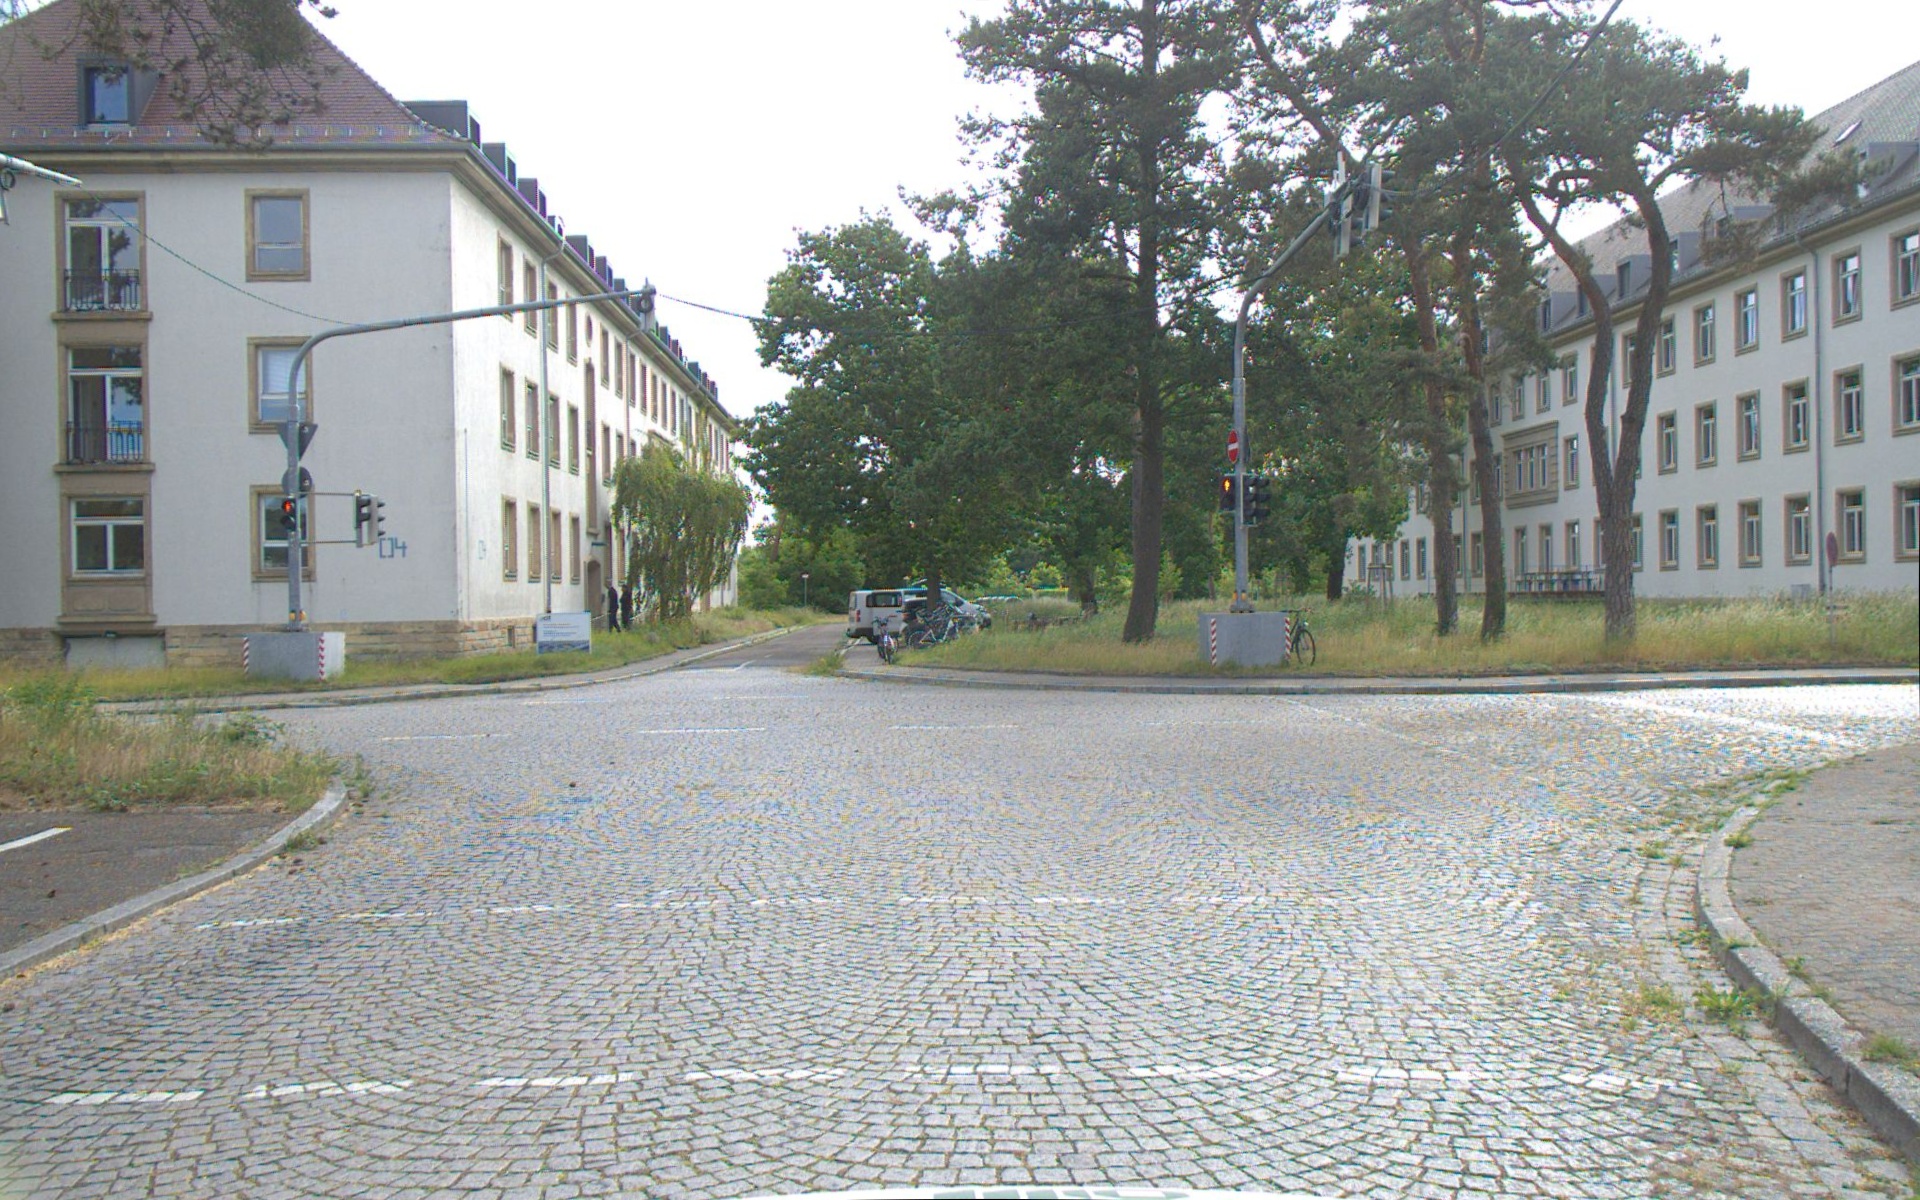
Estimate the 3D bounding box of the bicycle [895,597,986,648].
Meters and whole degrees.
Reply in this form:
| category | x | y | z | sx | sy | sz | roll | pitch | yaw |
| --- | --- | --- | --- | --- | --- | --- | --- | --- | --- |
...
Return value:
| category | x | y | z | sx | sy | sz | roll | pitch | yaw |
| --- | --- | --- | --- | --- | --- | --- | --- | --- | --- |
| bicycle | -0.568 | 0.632 | 47.239 | 2.517 | 1.396 | 0.950 | -1 | 0 | -4 |

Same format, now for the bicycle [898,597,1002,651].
| category | x | y | z | sx | sy | sz | roll | pitch | yaw |
| --- | --- | --- | --- | --- | --- | --- | --- | --- | --- |
| bicycle | -0.279 | 0.641 | 44.553 | 2.746 | 1.396 | 0.950 | -1 | 0 | -3 |

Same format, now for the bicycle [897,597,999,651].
| category | x | y | z | sx | sy | sz | roll | pitch | yaw |
| --- | --- | --- | --- | --- | --- | --- | --- | --- | --- |
| bicycle | -0.342 | 0.648 | 45.444 | 2.746 | 1.396 | 0.950 | -1 | 0 | -3 |

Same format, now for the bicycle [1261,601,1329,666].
| category | x | y | z | sx | sy | sz | roll | pitch | yaw |
| --- | --- | --- | --- | --- | --- | --- | --- | --- | --- |
| bicycle | 6.013 | 0.589 | 29.769 | 0.632 | 1.080 | 1.832 | -5 | 0 | -5 |

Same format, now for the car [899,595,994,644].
| category | x | y | z | sx | sy | sz | roll | pitch | yaw |
| --- | --- | --- | --- | --- | --- | --- | --- | --- | --- |
| car | -0.492 | 0.656 | 56.210 | 3.160 | 1.649 | 1.936 | 0 | -1 | -3 |

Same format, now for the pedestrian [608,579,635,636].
| category | x | y | z | sx | sy | sz | roll | pitch | yaw |
| --- | --- | --- | --- | --- | --- | --- | --- | --- | --- |
| pedestrian | -11.680 | 0.262 | 57.002 | 0.850 | 1.966 | 0.834 | 1 | -1 | -14 |

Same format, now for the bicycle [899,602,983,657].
| category | x | y | z | sx | sy | sz | roll | pitch | yaw |
| --- | --- | --- | --- | --- | --- | --- | --- | --- | --- |
| bicycle | -0.496 | 0.731 | 41.596 | 2.071 | 1.329 | 0.874 | -1 | 0 | -3 |

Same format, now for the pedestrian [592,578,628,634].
| category | x | y | z | sx | sy | sz | roll | pitch | yaw |
| --- | --- | --- | --- | --- | --- | --- | --- | --- | --- |
| pedestrian | -11.918 | 0.210 | 56.337 | 1.173 | 1.903 | 1.545 | 0 | -1 | -12 |

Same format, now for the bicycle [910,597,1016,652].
| category | x | y | z | sx | sy | sz | roll | pitch | yaw |
| --- | --- | --- | --- | --- | --- | --- | --- | --- | --- |
| bicycle | 0.062 | 0.638 | 44.033 | 2.746 | 1.396 | 0.950 | -1 | 0 | -3 |

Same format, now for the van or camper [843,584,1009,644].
| category | x | y | z | sx | sy | sz | roll | pitch | yaw |
| --- | --- | --- | --- | --- | --- | --- | --- | --- | --- |
| van or camper | -1.250 | 0.498 | 59.693 | 5.646 | 1.991 | 2.229 | -1 | 0 | -15 |

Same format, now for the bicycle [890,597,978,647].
| category | x | y | z | sx | sy | sz | roll | pitch | yaw |
| --- | --- | --- | --- | --- | --- | --- | --- | --- | --- |
| bicycle | -0.761 | 0.637 | 48.069 | 2.517 | 1.396 | 0.950 | -1 | 0 | -4 |

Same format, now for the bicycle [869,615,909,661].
| category | x | y | z | sx | sy | sz | roll | pitch | yaw |
| --- | --- | --- | --- | --- | --- | --- | --- | --- | --- |
| bicycle | -1.648 | 0.860 | 38.166 | 0.882 | 1.014 | 1.977 | -1 | 0 | -3 |

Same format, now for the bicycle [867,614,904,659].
| category | x | y | z | sx | sy | sz | roll | pitch | yaw |
| --- | --- | --- | --- | --- | --- | --- | --- | --- | --- |
| bicycle | -1.801 | 0.876 | 40.253 | 0.712 | 1.014 | 1.979 | -1 | 0 | 2 |

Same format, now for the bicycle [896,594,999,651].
| category | x | y | z | sx | sy | sz | roll | pitch | yaw |
| --- | --- | --- | --- | --- | --- | --- | --- | --- | --- |
| bicycle | -0.336 | 0.557 | 42.215 | 2.567 | 1.391 | 0.874 | -1 | 0 | -3 |

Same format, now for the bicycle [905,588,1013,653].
| category | x | y | z | sx | sy | sz | roll | pitch | yaw |
| --- | --- | --- | --- | --- | --- | --- | --- | --- | --- |
| bicycle | -0.031 | 0.535 | 43.098 | 2.746 | 1.611 | 0.950 | -1 | 0 | -3 |
